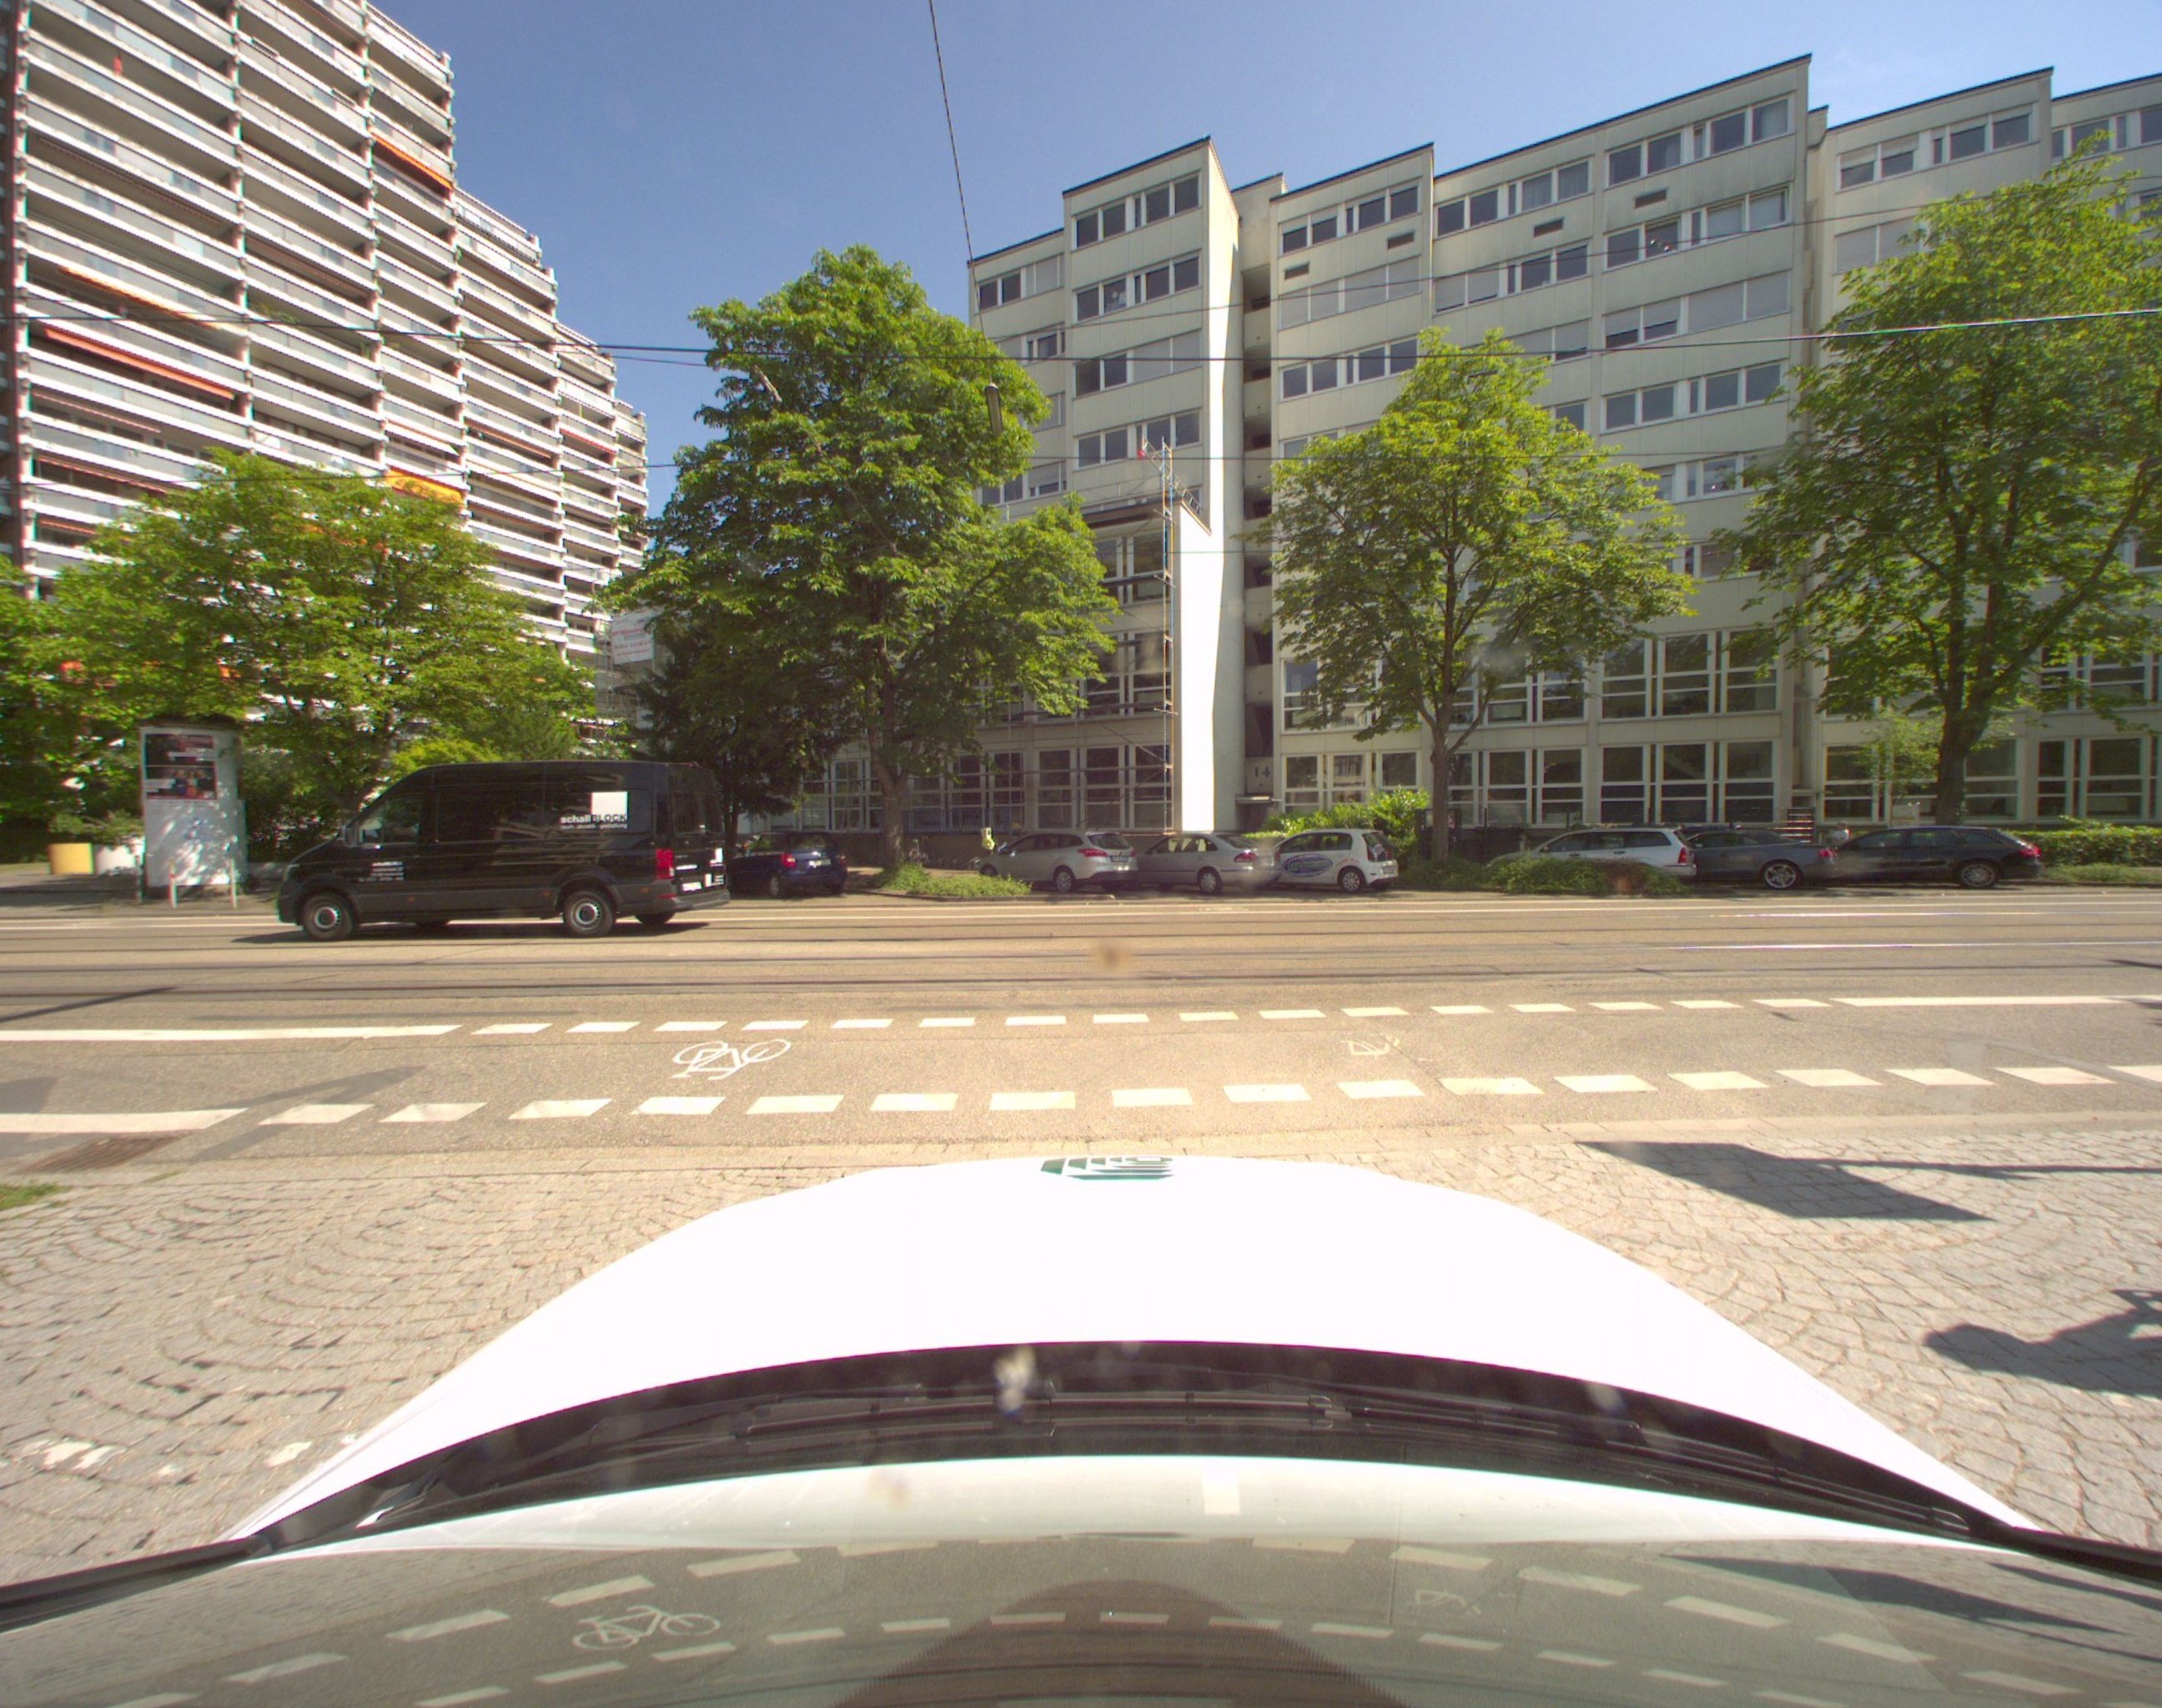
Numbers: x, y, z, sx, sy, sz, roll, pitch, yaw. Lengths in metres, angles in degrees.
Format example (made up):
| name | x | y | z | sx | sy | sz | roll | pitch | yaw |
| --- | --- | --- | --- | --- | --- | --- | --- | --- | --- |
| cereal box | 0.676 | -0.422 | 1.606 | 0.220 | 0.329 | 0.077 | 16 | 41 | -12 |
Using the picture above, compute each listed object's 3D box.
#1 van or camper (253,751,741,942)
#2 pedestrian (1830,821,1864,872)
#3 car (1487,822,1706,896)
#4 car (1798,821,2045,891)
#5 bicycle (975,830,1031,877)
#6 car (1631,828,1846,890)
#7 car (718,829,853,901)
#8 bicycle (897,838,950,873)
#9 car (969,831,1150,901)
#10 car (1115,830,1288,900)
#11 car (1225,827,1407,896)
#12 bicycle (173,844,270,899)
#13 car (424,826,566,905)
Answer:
| name | x | y | z | sx | sy | sz | roll | pitch | yaw |
| --- | --- | --- | --- | --- | --- | --- | --- | --- | --- |
| van or camper | -8.565 | -0.139 | 12.419 | 5.825 | 2.619 | 2.050 | -1 | 1 | -1 |
| pedestrian | 22.452 | -0.219 | 23.869 | 0.618 | 1.460 | 0.424 | -1 | 1 | -4 |
| car | 12.393 | 0.083 | 19.746 | 4.289 | 1.604 | 1.568 | 1 | 1 | 41 |
| car | 19.418 | 0.001 | 19.058 | 3.896 | 1.486 | 1.568 | 1 | 2 | 44 |
| bicycle | -2.472 | -0.036 | 26.106 | 0.655 | 1.453 | 2.103 | 0 | 2 | 30 |
| car | 15.665 | 0.066 | 19.539 | 3.896 | 1.357 | 1.568 | 1 | 2 | 44 |
| car | -6.949 | 0.187 | 19.009 | 3.415 | 1.531 | 1.586 | 1 | 2 | 44 |
| bicycle | -5.199 | 0.033 | 26.970 | 0.735 | 1.085 | 2.213 | 0 | 2 | 18 |
| car | -0.619 | 0.210 | 19.592 | 4.380 | 1.486 | 1.795 | 1 | 2 | 44 |
| car | 2.779 | 0.191 | 19.385 | 1.622 | 1.486 | 3.897 | -2 | 2 | -44 |
| car | 5.585 | 0.151 | 19.674 | 1.622 | 1.486 | 3.896 | -2 | 1 | -45 |
| bicycle | -20.996 | 0.418 | 19.918 | 1.614 | 1.308 | 0.546 | -1 | 1 | -7 |
| car | -13.463 | 0.187 | 18.634 | 3.895 | 1.606 | 1.831 | 1 | 2 | 42 |
